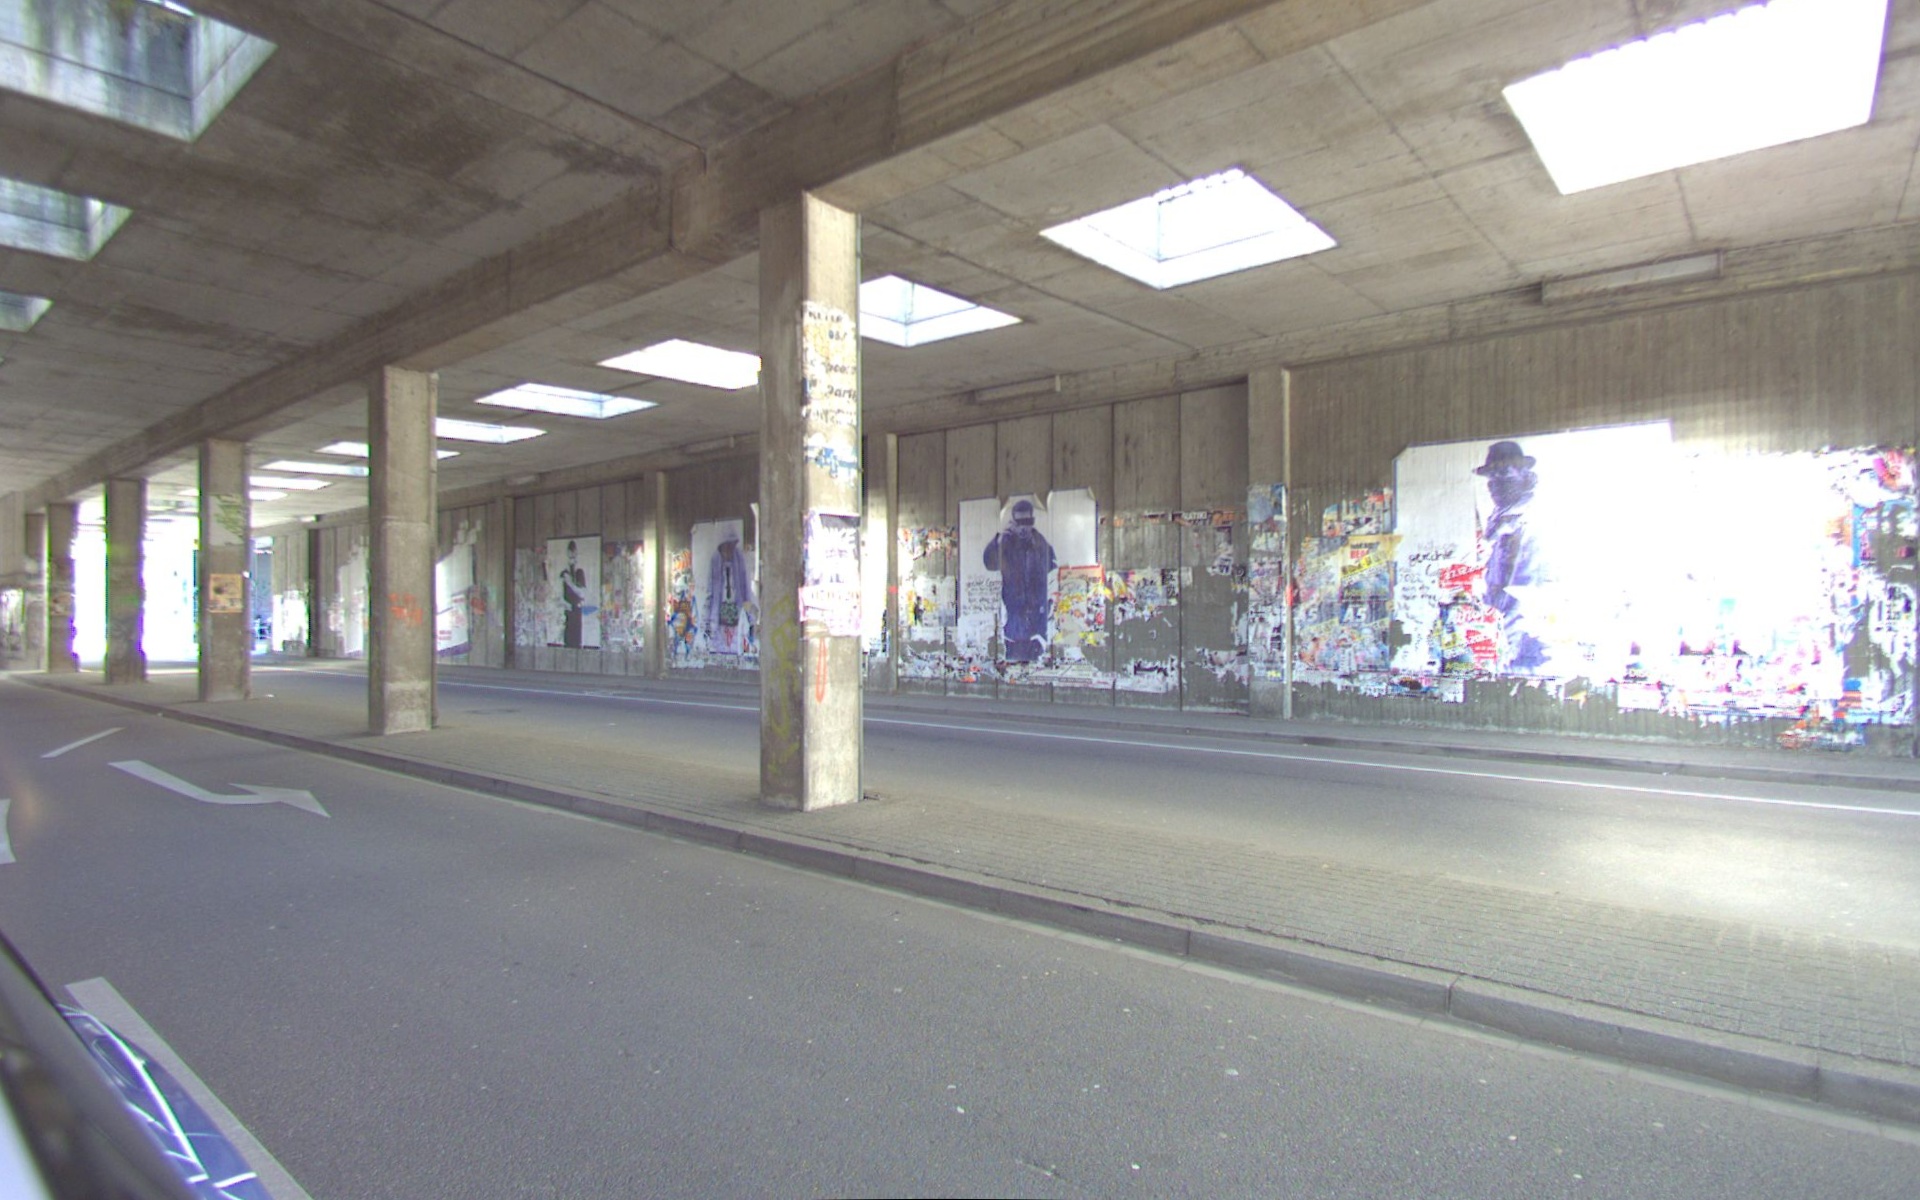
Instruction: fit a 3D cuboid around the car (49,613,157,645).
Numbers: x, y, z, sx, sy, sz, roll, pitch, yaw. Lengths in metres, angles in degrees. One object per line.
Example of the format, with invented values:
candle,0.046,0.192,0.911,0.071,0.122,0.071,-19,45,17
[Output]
car,-52.972,1.758,62.654,1.997,1.763,4.798,-1,0,38
